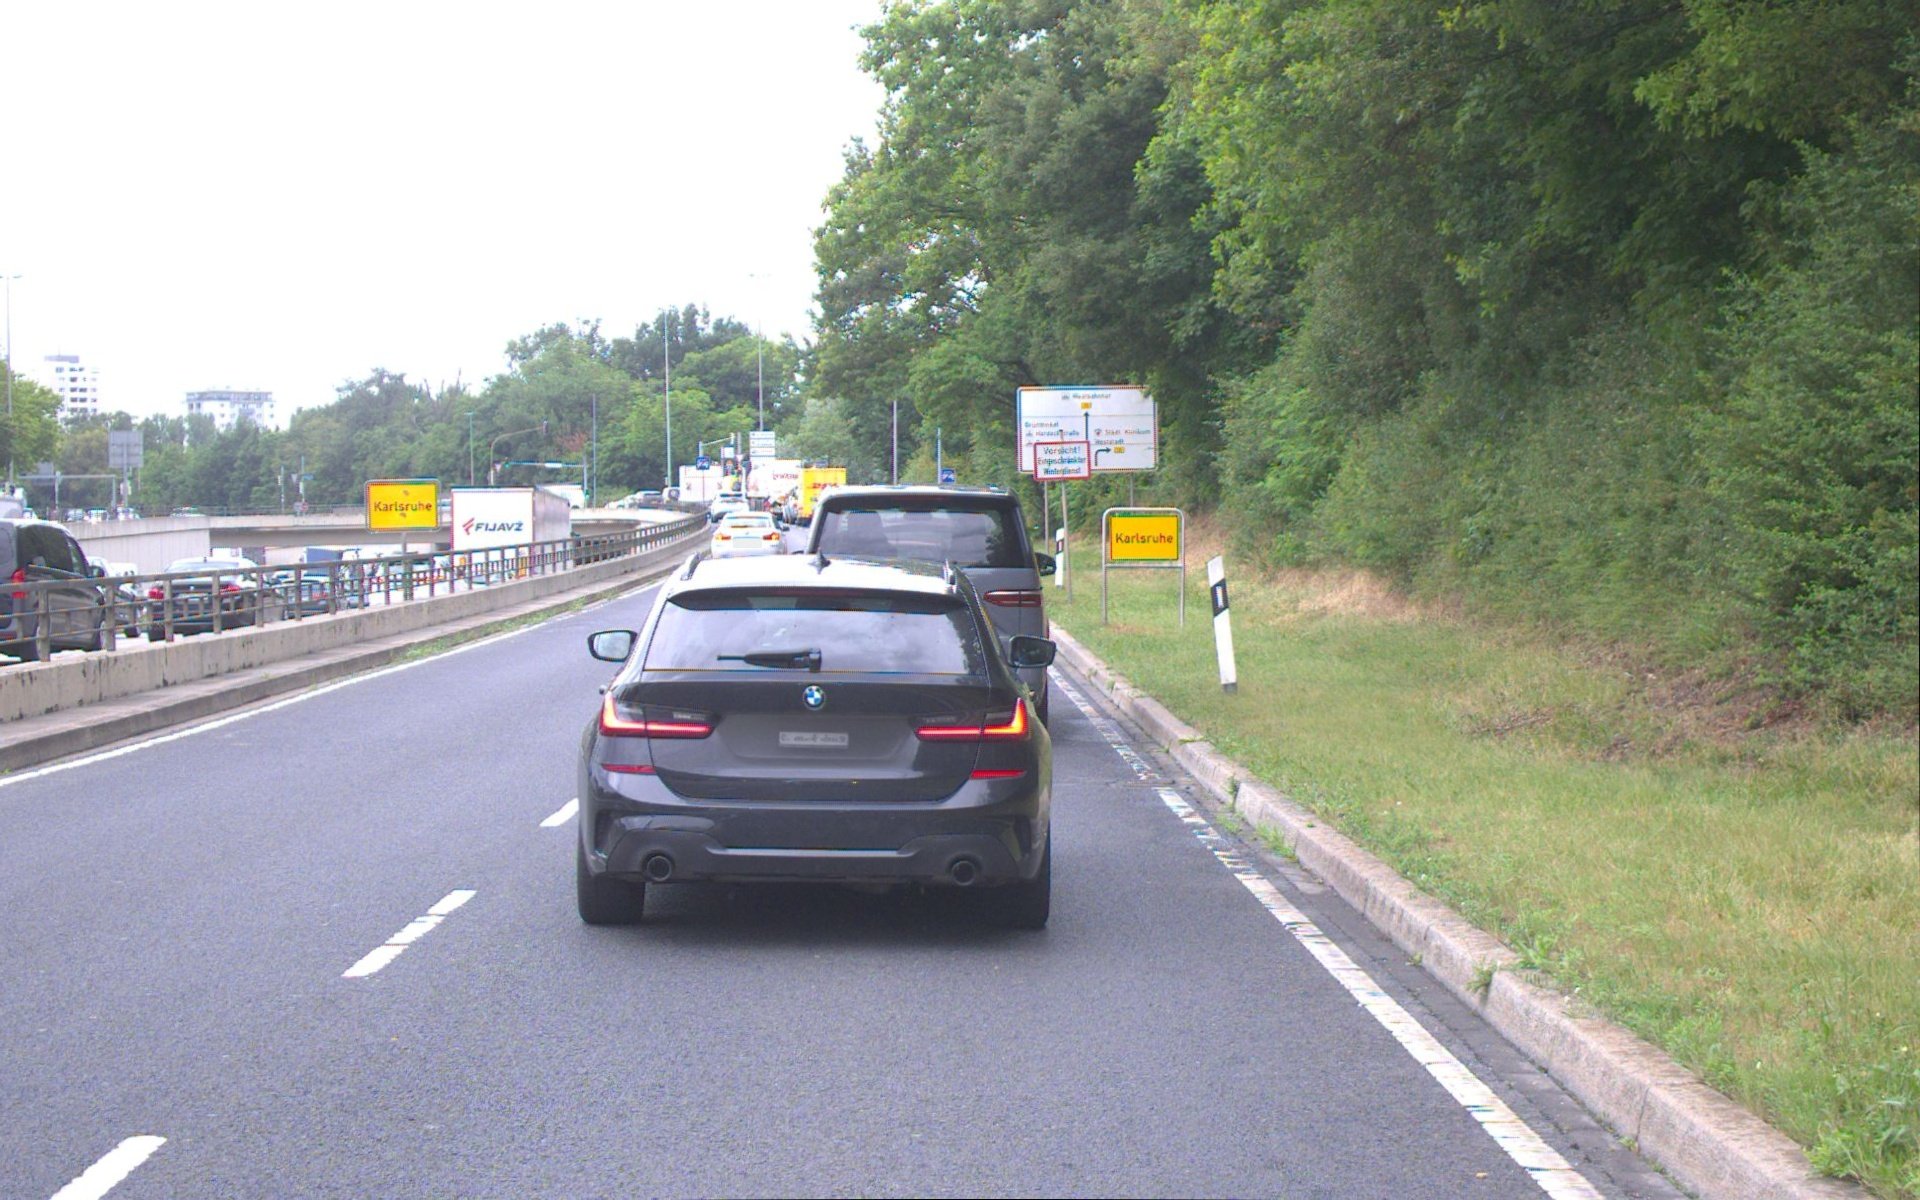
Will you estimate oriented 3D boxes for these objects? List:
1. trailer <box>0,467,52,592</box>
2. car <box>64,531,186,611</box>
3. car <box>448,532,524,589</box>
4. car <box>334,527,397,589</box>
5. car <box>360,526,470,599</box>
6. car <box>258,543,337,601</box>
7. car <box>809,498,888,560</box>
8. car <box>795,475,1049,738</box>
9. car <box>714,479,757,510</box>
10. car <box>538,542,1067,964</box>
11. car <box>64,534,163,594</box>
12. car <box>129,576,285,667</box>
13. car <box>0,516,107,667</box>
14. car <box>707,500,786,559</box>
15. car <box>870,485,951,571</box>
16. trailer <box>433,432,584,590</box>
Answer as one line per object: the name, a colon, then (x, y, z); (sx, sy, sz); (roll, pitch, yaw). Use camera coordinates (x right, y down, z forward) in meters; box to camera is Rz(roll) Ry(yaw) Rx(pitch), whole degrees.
trailer: (-30.207, -2.097, 102.464); (2.591, 3.745, 14.728); (0, 1, -1)
car: (-17.473, -0.630, 72.117); (1.687, 1.602, 4.008); (1, 1, -2)
car: (-13.301, -1.130, 96.559); (1.768, 1.544, 3.493); (0, 1, -2)
car: (-19.835, -1.429, 114.859); (1.443, 2.037, 3.680); (0, 1, 0)
car: (-13.082, -0.927, 82.737); (1.946, 1.686, 4.507); (0, 1, 0)
car: (-19.390, -0.844, 100.756); (1.687, 1.626, 3.735); (1, 1, -2)
car: (-2.728, -1.736, 84.105); (1.859, 1.459, 4.534); (0, 1, -2)
car: (-0.291, 0.008, 26.380); (1.796, 1.865, 4.000); (0, 1, -1)
car: (-12.147, -5.702, 185.918); (1.930, 1.590, 3.878); (-1, 1, -9)
car: (-0.638, 0.507, 14.077); (1.846, 1.461, 4.001); (0, 1, -2)
car: (-25.238, -1.091, 102.570); (1.993, 1.759, 4.000); (0, 1, -1)
car: (-13.078, 0.340, 59.971); (1.712, 1.452, 4.666); (0, 1, 0)
car: (-12.527, -0.156, 44.400); (1.993, 1.845, 4.812); (0, 1, -2)
car: (-5.462, -1.806, 88.346); (1.859, 1.459, 4.885); (0, 1, -2)
car: (-0.919, -1.333, 63.473); (1.452, 1.535, 3.225); (0, 1, -1)
trailer: (-14.330, -2.791, 110.297); (3.132, 4.709, 14.559); (1, 1, -1)
